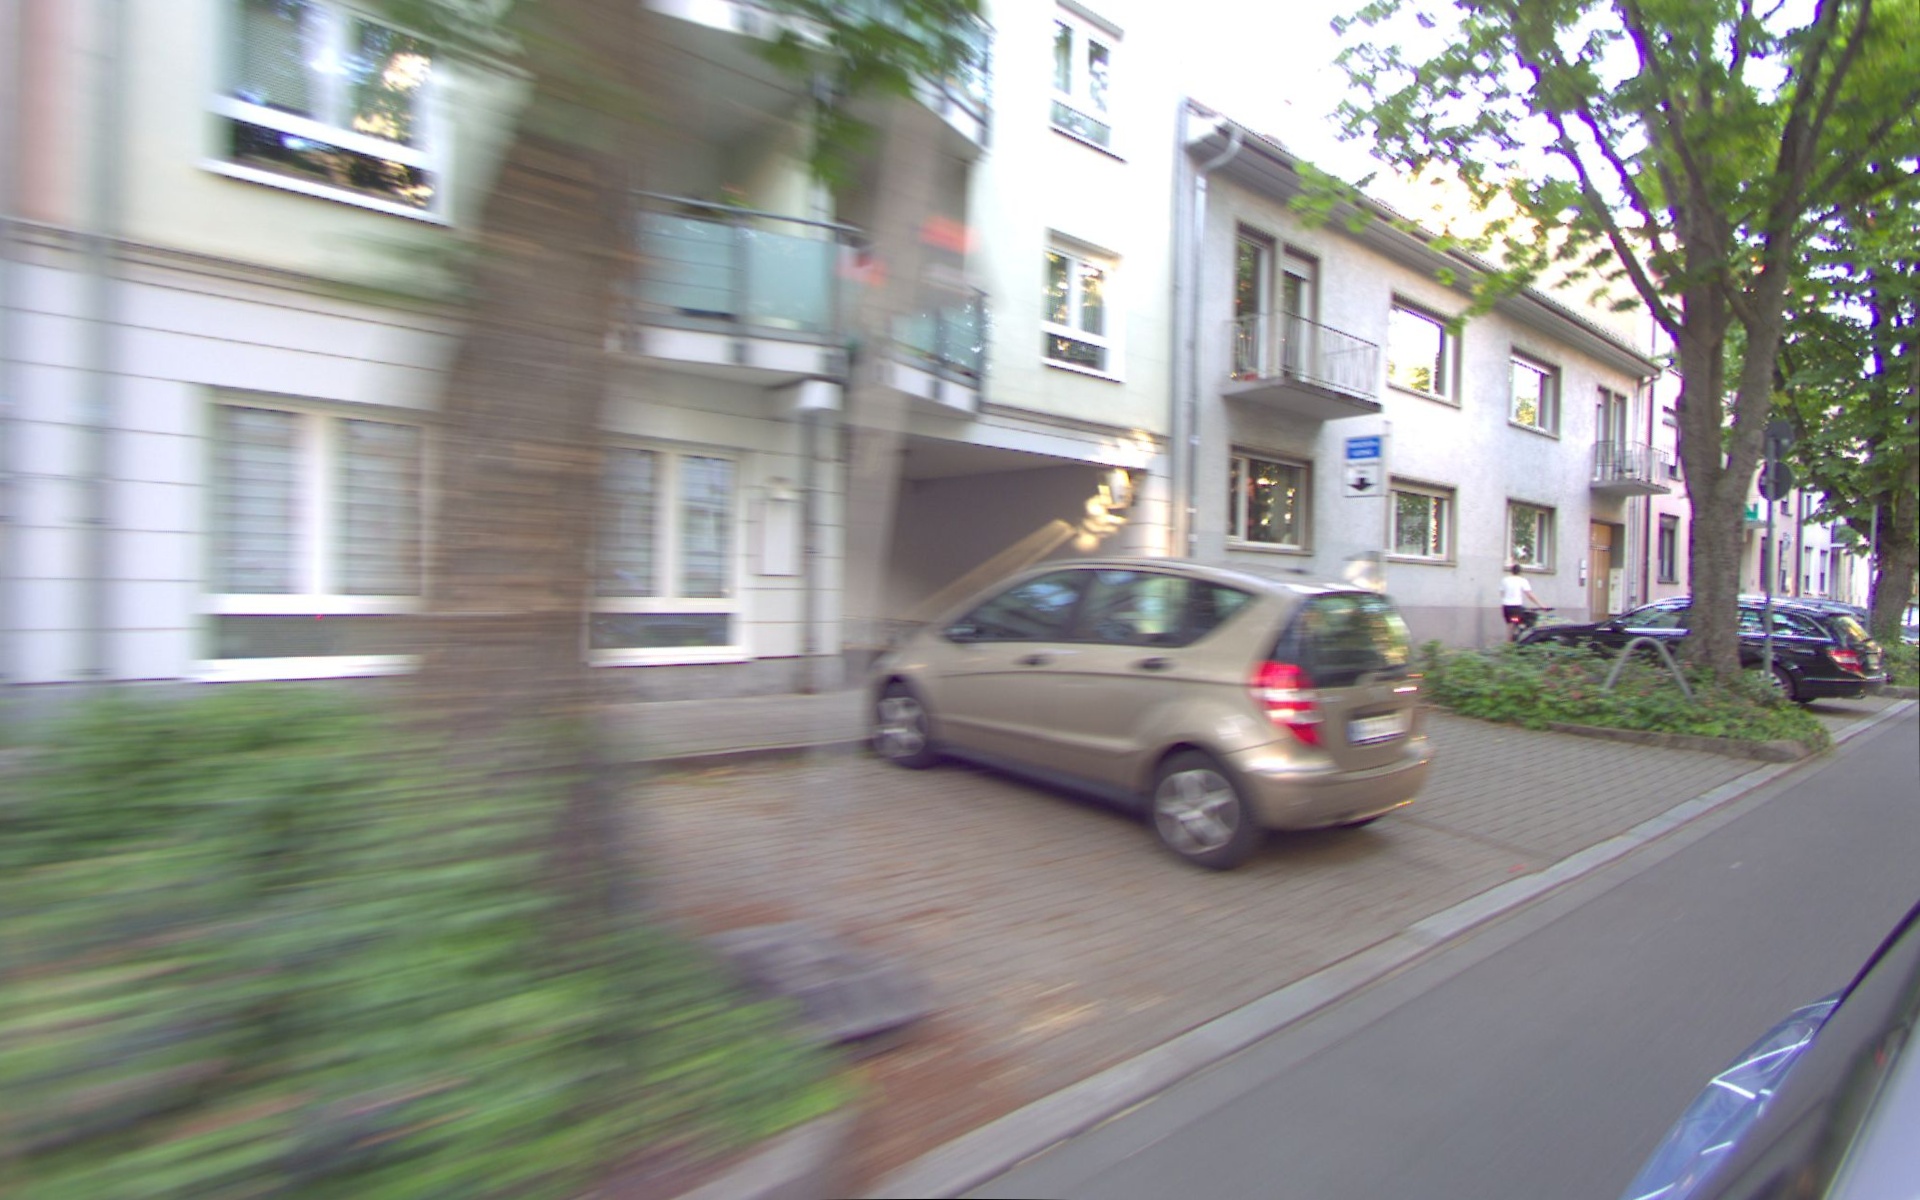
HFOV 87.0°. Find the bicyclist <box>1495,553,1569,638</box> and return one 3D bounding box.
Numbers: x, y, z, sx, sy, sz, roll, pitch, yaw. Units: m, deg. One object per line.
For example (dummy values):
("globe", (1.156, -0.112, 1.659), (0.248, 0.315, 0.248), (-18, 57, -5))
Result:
("bicyclist", (11.258, -0.101, 19.903), (1.117, 1.624, 0.971), (0, 1, -44))

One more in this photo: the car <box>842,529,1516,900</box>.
("car", (1.142, 0.416, 6.698), (1.883, 1.604, 3.979), (0, 4, -41))

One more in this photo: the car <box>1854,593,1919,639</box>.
("car", (32.682, 0.562, 33.814), (1.768, 1.509, 4.086), (0, 1, -43))

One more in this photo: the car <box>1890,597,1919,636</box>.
("car", (38.902, 0.696, 38.586), (1.953, 1.516, 4.885), (1, 1, -40))

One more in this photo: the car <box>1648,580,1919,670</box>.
("car", (17.383, 0.449, 21.040), (1.964, 1.405, 4.692), (1, 4, -39))

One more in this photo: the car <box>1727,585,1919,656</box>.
("car", (22.287, 0.492, 25.075), (2.004, 1.465, 4.855), (1, 3, -38))

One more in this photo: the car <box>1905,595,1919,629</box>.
("car", (42.082, 0.590, 42.210), (1.685, 1.428, 3.838), (0, 2, -44))

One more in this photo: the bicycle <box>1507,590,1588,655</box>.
("bicycle", (11.613, 0.412, 19.940), (0.620, 1.178, 3.348), (2, 1, 43))

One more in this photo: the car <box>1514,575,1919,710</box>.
("car", (11.029, 0.492, 15.014), (1.973, 1.444, 4.476), (0, 4, -36))
